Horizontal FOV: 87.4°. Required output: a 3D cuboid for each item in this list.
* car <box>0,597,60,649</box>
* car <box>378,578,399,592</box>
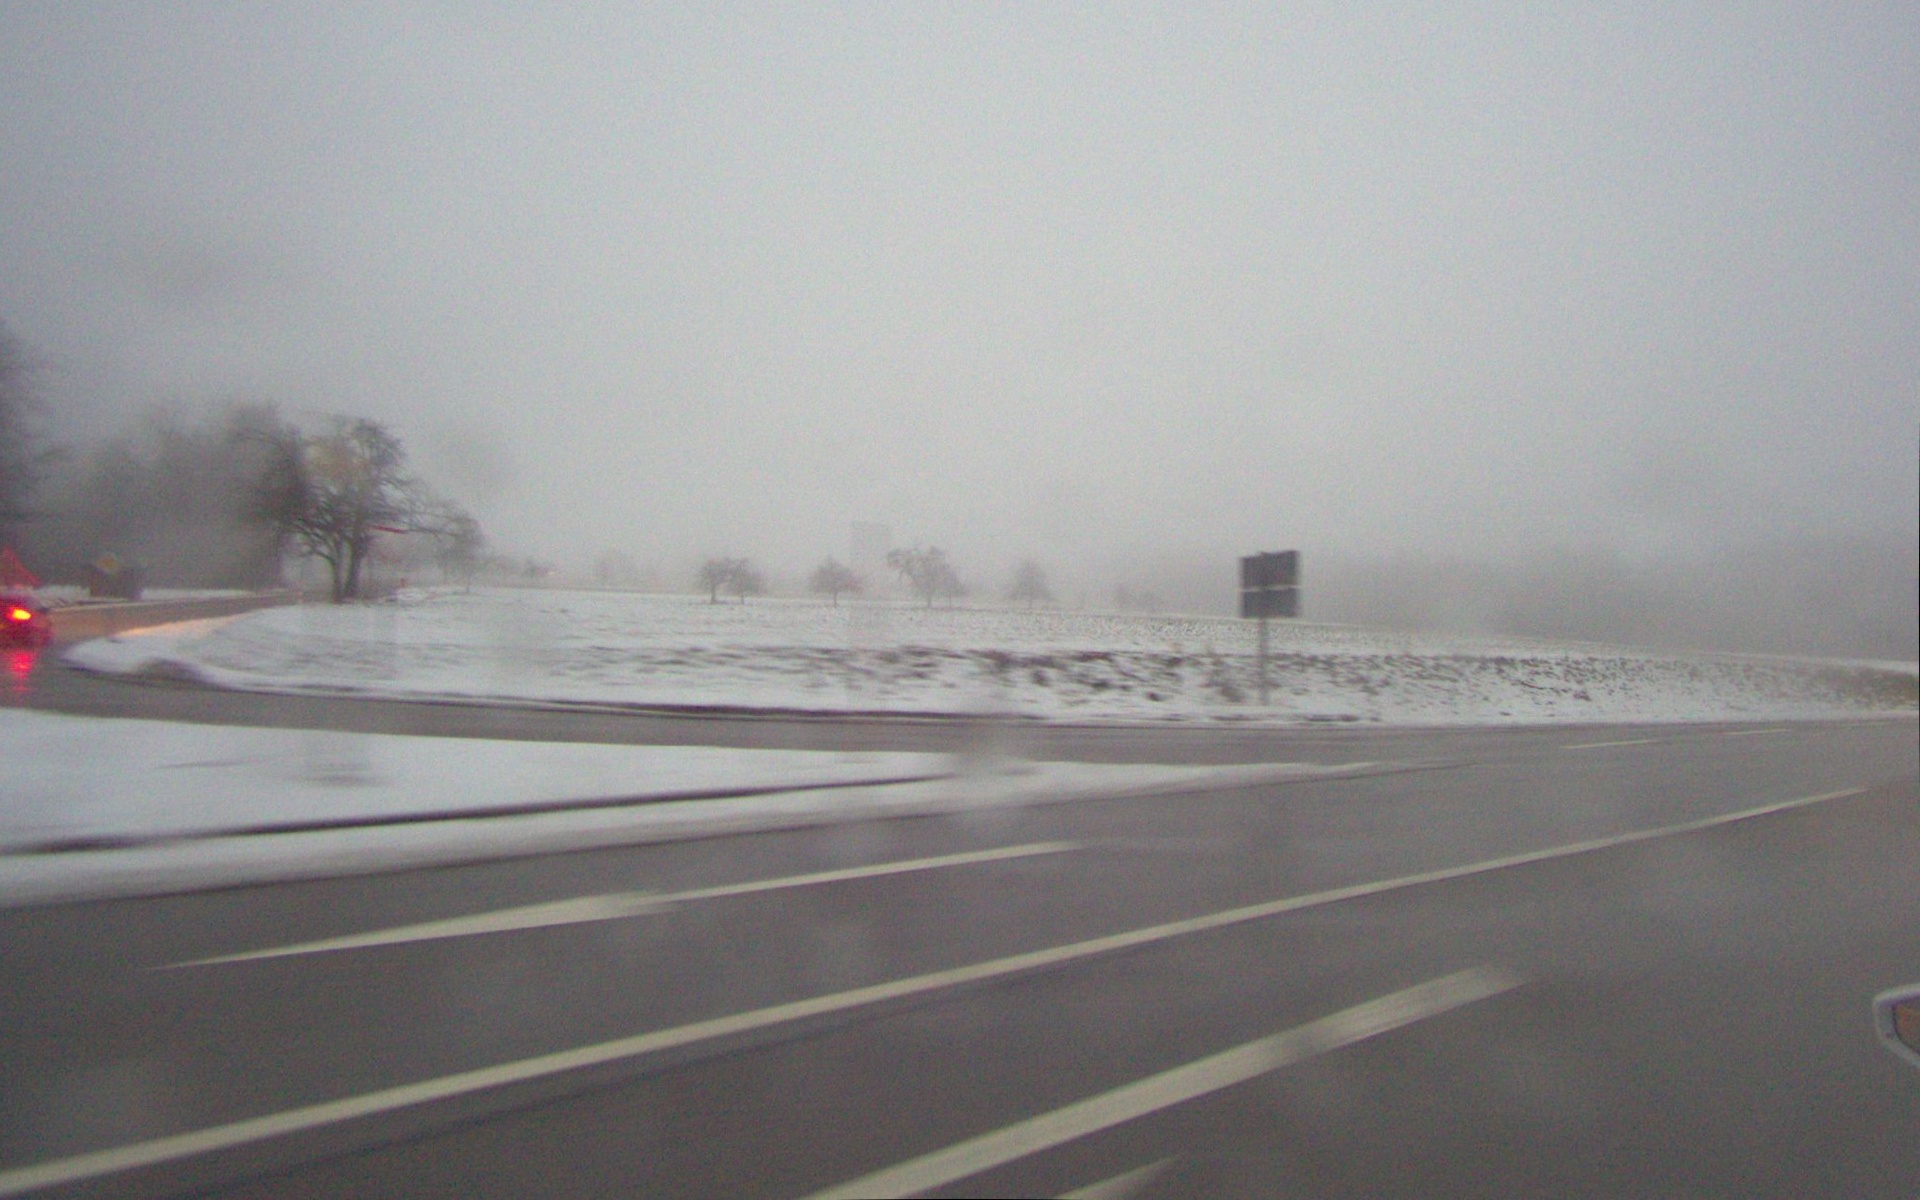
[{"bbox_3d":[-28.091,0.667,29.836,1.561,1.472,3.381,0,0,-34],"label":"car"},{"bbox_3d":[-76.477,-2.013,134.394,1.971,1.831,3.978,0,1,-22],"label":"car"}]
